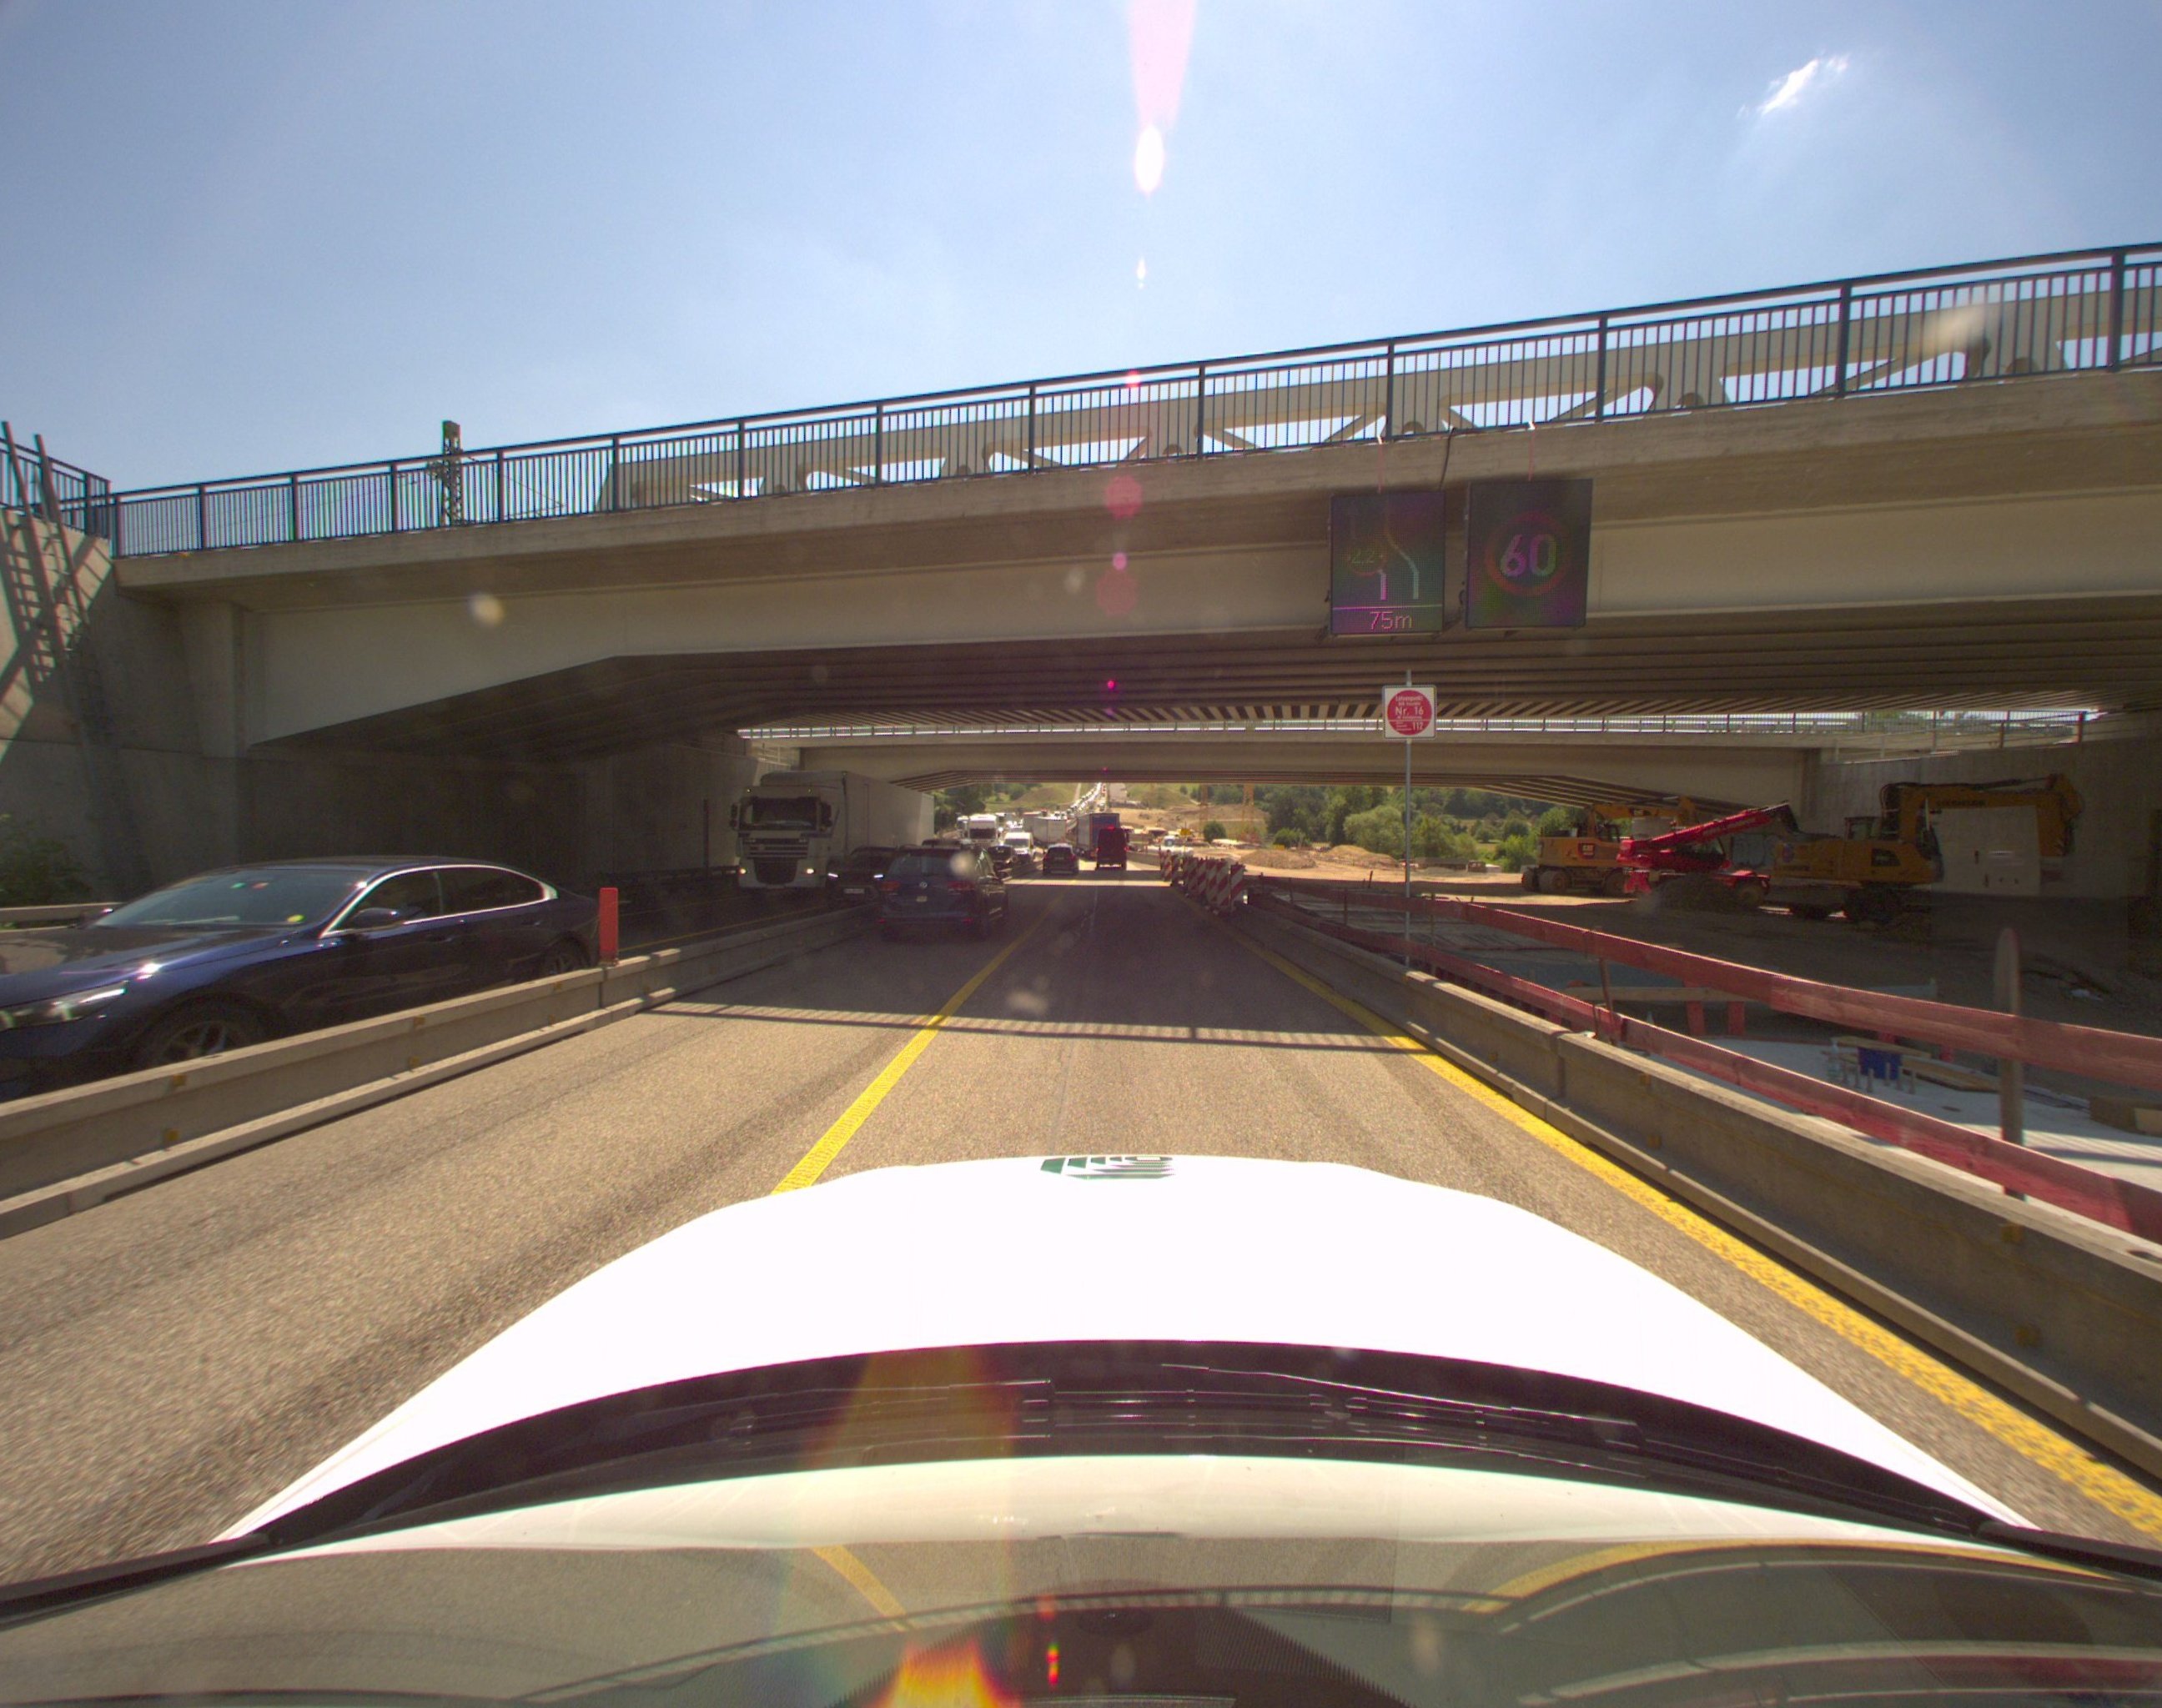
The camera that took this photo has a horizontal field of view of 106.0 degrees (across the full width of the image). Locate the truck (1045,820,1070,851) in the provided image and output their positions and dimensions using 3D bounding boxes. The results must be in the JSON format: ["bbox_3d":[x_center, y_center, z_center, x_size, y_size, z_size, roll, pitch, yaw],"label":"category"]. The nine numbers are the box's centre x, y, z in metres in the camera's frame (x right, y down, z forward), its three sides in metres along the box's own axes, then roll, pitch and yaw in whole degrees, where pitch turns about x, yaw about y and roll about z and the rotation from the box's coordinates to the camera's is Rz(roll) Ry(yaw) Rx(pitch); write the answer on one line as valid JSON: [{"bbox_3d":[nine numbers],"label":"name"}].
[{"bbox_3d":[-3.121,-2.508,108.352,3.174,3.988,6.738,0,3,-2],"label":"truck"}]

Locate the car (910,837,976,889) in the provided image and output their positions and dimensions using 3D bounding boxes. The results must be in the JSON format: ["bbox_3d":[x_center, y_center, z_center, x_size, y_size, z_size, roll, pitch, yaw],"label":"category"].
[{"bbox_3d":[-5.494,0.320,33.021,1.794,1.932,4.968,0,0,0],"label":"car"}]

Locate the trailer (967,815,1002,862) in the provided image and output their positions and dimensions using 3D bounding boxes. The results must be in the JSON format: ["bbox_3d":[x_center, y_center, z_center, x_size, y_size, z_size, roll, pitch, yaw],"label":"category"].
[{"bbox_3d":[-9.138,-1.522,78.448,2.872,4.039,14.332,1,1,-5],"label":"trailer"}]

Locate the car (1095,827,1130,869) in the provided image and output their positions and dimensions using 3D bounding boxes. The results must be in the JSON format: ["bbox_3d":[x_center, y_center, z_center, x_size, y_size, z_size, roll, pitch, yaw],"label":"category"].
[{"bbox_3d":[2.052,-0.364,53.242,2.142,2.611,5.440,0,-1,2],"label":"car"}]

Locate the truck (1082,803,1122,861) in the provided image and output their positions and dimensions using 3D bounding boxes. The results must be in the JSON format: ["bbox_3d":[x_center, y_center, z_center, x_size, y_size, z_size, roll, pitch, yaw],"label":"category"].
[{"bbox_3d":[1.802,-2.002,72.521,2.939,4.944,6.734,0,3,-4],"label":"truck"}]

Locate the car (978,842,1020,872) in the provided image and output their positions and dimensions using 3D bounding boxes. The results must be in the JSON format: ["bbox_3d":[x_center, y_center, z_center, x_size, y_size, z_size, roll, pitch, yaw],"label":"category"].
[{"bbox_3d":[-4.637,0.154,46.567,1.741,1.609,4.144,0,0,3],"label":"car"}]

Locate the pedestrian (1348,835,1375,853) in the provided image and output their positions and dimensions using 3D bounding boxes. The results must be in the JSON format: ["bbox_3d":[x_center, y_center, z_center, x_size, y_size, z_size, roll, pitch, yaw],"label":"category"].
[{"bbox_3d":[34.347,-1.216,99.920,1.986,2.014,4.000,0,-1,1],"label":"pedestrian"}]

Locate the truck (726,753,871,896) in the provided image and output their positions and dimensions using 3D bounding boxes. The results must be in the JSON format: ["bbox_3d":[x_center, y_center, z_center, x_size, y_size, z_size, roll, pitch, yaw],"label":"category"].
[{"bbox_3d":[-8.874,-0.820,26.250,2.649,4.171,5.189,0,-1,2],"label":"truck"}]

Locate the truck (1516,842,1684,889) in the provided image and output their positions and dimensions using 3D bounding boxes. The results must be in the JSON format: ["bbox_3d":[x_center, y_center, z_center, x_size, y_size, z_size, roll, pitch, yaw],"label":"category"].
[{"bbox_3d":[25.442,0.530,40.189,6.490,2.073,2.669,1,1,5],"label":"truck"}]

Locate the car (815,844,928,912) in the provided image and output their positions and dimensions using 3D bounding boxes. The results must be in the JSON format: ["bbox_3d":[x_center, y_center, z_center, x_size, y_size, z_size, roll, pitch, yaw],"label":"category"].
[{"bbox_3d":[-5.553,0.548,22.152,1.715,1.609,4.526,1,1,2],"label":"car"}]

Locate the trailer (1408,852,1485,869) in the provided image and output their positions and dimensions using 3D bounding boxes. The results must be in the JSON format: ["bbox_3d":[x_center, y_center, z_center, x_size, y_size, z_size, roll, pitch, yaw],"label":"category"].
[{"bbox_3d":[26.423,0.488,59.030,4.696,1.219,2.056,0,-1,1],"label":"trailer"}]

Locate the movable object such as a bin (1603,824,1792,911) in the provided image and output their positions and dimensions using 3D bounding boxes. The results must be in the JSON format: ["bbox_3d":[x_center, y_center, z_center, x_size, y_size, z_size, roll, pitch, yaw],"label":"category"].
[{"bbox_3d":[23.352,0.496,31.046,5.213,3.056,2.500,1,-1,5],"label":"movable object such as a bin"}]

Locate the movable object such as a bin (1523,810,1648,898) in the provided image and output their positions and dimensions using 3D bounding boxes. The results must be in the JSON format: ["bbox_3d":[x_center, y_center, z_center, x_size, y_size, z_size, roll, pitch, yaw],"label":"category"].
[{"bbox_3d":[21.655,-0.013,35.181,3.855,3.542,2.913,1,-1,13],"label":"movable object such as a bin"}]

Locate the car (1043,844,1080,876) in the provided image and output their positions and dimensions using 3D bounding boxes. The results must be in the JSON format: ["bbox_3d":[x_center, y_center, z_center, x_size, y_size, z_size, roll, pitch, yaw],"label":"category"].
[{"bbox_3d":[-1.014,0.284,44.353,1.827,1.635,4.391,0,1,1],"label":"car"}]

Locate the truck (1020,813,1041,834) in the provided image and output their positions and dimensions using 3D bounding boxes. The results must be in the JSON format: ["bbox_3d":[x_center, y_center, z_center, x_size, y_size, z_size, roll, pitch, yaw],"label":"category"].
[{"bbox_3d":[-9.179,-5.455,147.492,3.216,3.360,8.917,0,-1,-7],"label":"truck"}]

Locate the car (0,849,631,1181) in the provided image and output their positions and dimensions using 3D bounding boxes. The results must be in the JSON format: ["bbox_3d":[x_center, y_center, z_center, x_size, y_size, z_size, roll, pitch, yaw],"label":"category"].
[{"bbox_3d":[-5.719,0.774,6.155,1.848,1.527,4.775,0,-1,2],"label":"car"}]

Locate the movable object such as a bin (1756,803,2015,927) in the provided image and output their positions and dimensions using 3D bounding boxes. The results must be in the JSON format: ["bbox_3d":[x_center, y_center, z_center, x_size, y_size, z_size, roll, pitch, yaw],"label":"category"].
[{"bbox_3d":[23.221,0.299,23.781,4.531,3.287,2.995,1,-1,6],"label":"movable object such as a bin"}]

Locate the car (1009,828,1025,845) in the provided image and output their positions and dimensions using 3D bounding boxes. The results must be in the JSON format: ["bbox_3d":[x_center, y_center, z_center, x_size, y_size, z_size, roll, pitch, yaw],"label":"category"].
[{"bbox_3d":[-9.376,-2.560,118.988,2.262,2.354,5.150,0,3,-6],"label":"car"}]

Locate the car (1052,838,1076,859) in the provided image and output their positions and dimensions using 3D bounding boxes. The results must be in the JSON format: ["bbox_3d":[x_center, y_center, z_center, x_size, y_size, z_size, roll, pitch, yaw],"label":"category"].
[{"bbox_3d":[-1.534,-0.464,71.152,1.830,1.777,4.382,0,0,-5],"label":"car"}]

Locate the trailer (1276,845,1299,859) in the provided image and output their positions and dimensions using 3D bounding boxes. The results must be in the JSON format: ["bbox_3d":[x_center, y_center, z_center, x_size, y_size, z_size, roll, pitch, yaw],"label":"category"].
[{"bbox_3d":[24.064,-0.235,95.230,1.619,1.486,3.824,1,1,-2],"label":"trailer"}]

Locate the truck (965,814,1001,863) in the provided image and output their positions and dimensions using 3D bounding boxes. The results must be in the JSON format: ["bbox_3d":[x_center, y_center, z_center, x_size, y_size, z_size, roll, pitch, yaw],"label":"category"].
[{"bbox_3d":[-8.489,-1.383,71.155,2.869,4.050,4.876,1,1,-6],"label":"truck"}]

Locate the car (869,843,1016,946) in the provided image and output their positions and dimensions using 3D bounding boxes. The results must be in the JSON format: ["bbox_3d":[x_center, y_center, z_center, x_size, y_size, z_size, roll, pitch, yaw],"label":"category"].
[{"bbox_3d":[-2.380,0.644,15.140,1.726,1.635,4.393,0,0,3],"label":"car"}]

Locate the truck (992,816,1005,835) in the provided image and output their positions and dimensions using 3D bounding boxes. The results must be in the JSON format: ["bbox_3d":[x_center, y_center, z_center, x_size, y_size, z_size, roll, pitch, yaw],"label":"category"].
[{"bbox_3d":[-18.834,-6.440,186.387,2.619,4.269,4.729,1,2,-2],"label":"truck"}]

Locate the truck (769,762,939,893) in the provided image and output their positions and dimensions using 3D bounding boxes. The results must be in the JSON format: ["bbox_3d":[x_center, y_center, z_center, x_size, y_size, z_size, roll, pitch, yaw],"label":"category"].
[{"bbox_3d":[-8.647,-0.792,33.533,2.758,4.313,13.495,0,-1,2],"label":"truck"}]

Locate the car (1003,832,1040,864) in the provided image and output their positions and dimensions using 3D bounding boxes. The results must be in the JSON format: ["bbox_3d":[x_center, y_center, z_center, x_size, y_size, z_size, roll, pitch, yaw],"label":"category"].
[{"bbox_3d":[-4.436,-0.445,61.450,1.972,2.330,6.064,0,0,4],"label":"car"}]
